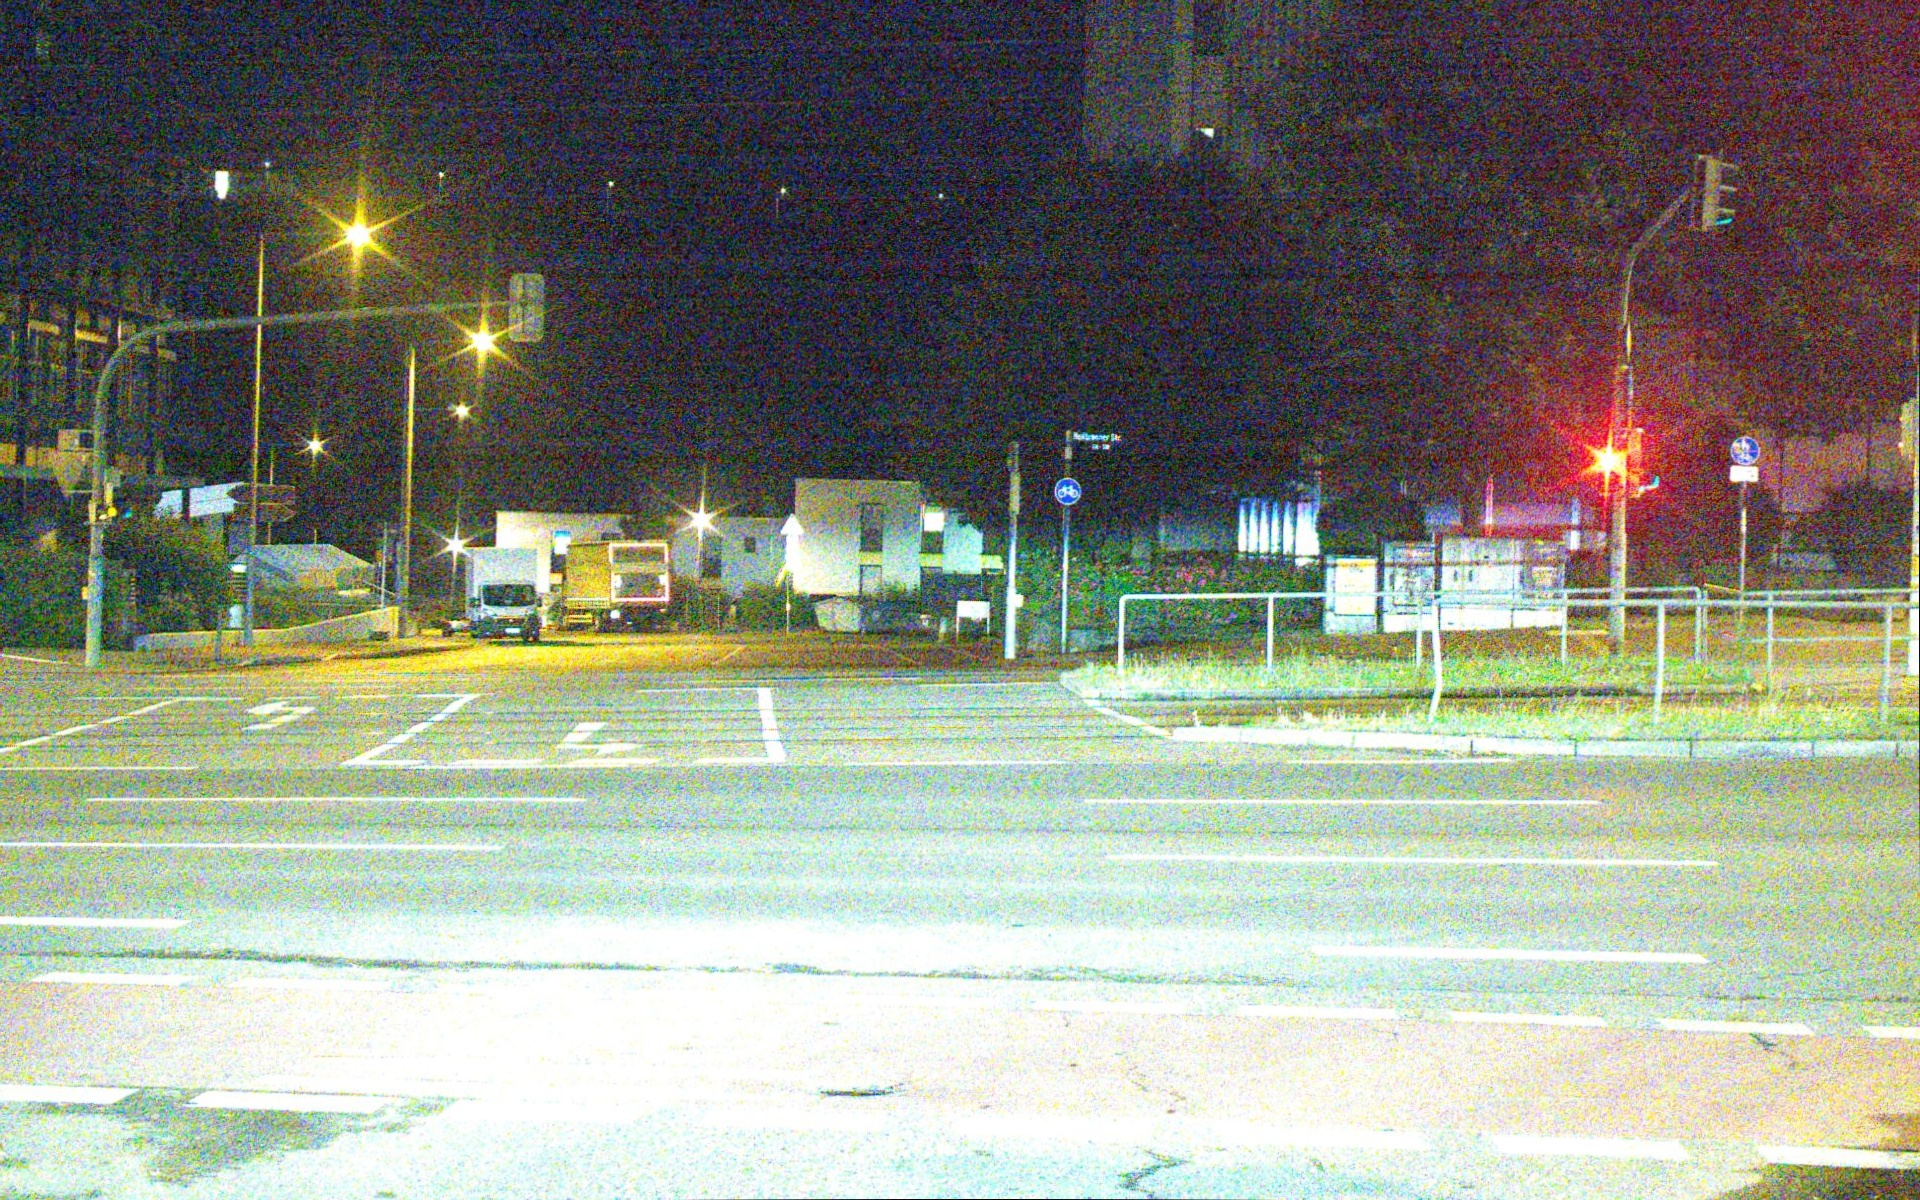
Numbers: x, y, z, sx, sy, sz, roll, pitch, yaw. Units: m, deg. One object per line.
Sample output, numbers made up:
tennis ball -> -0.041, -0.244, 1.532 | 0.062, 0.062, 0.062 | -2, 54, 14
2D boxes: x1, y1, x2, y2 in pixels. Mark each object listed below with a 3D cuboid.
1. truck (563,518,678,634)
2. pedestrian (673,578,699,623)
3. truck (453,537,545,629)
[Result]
truck -> -14.763, -1.003, 148.862 | 3.359, 4.826, 7.908 | 1, 0, -17
pedestrian -> -11.743, 0.016, 147.428 | 0.849, 1.905, 1.007 | 1, 0, -18
truck -> -16.101, -0.572, 119.720 | 2.417, 3.078, 6.439 | 1, 0, -14
